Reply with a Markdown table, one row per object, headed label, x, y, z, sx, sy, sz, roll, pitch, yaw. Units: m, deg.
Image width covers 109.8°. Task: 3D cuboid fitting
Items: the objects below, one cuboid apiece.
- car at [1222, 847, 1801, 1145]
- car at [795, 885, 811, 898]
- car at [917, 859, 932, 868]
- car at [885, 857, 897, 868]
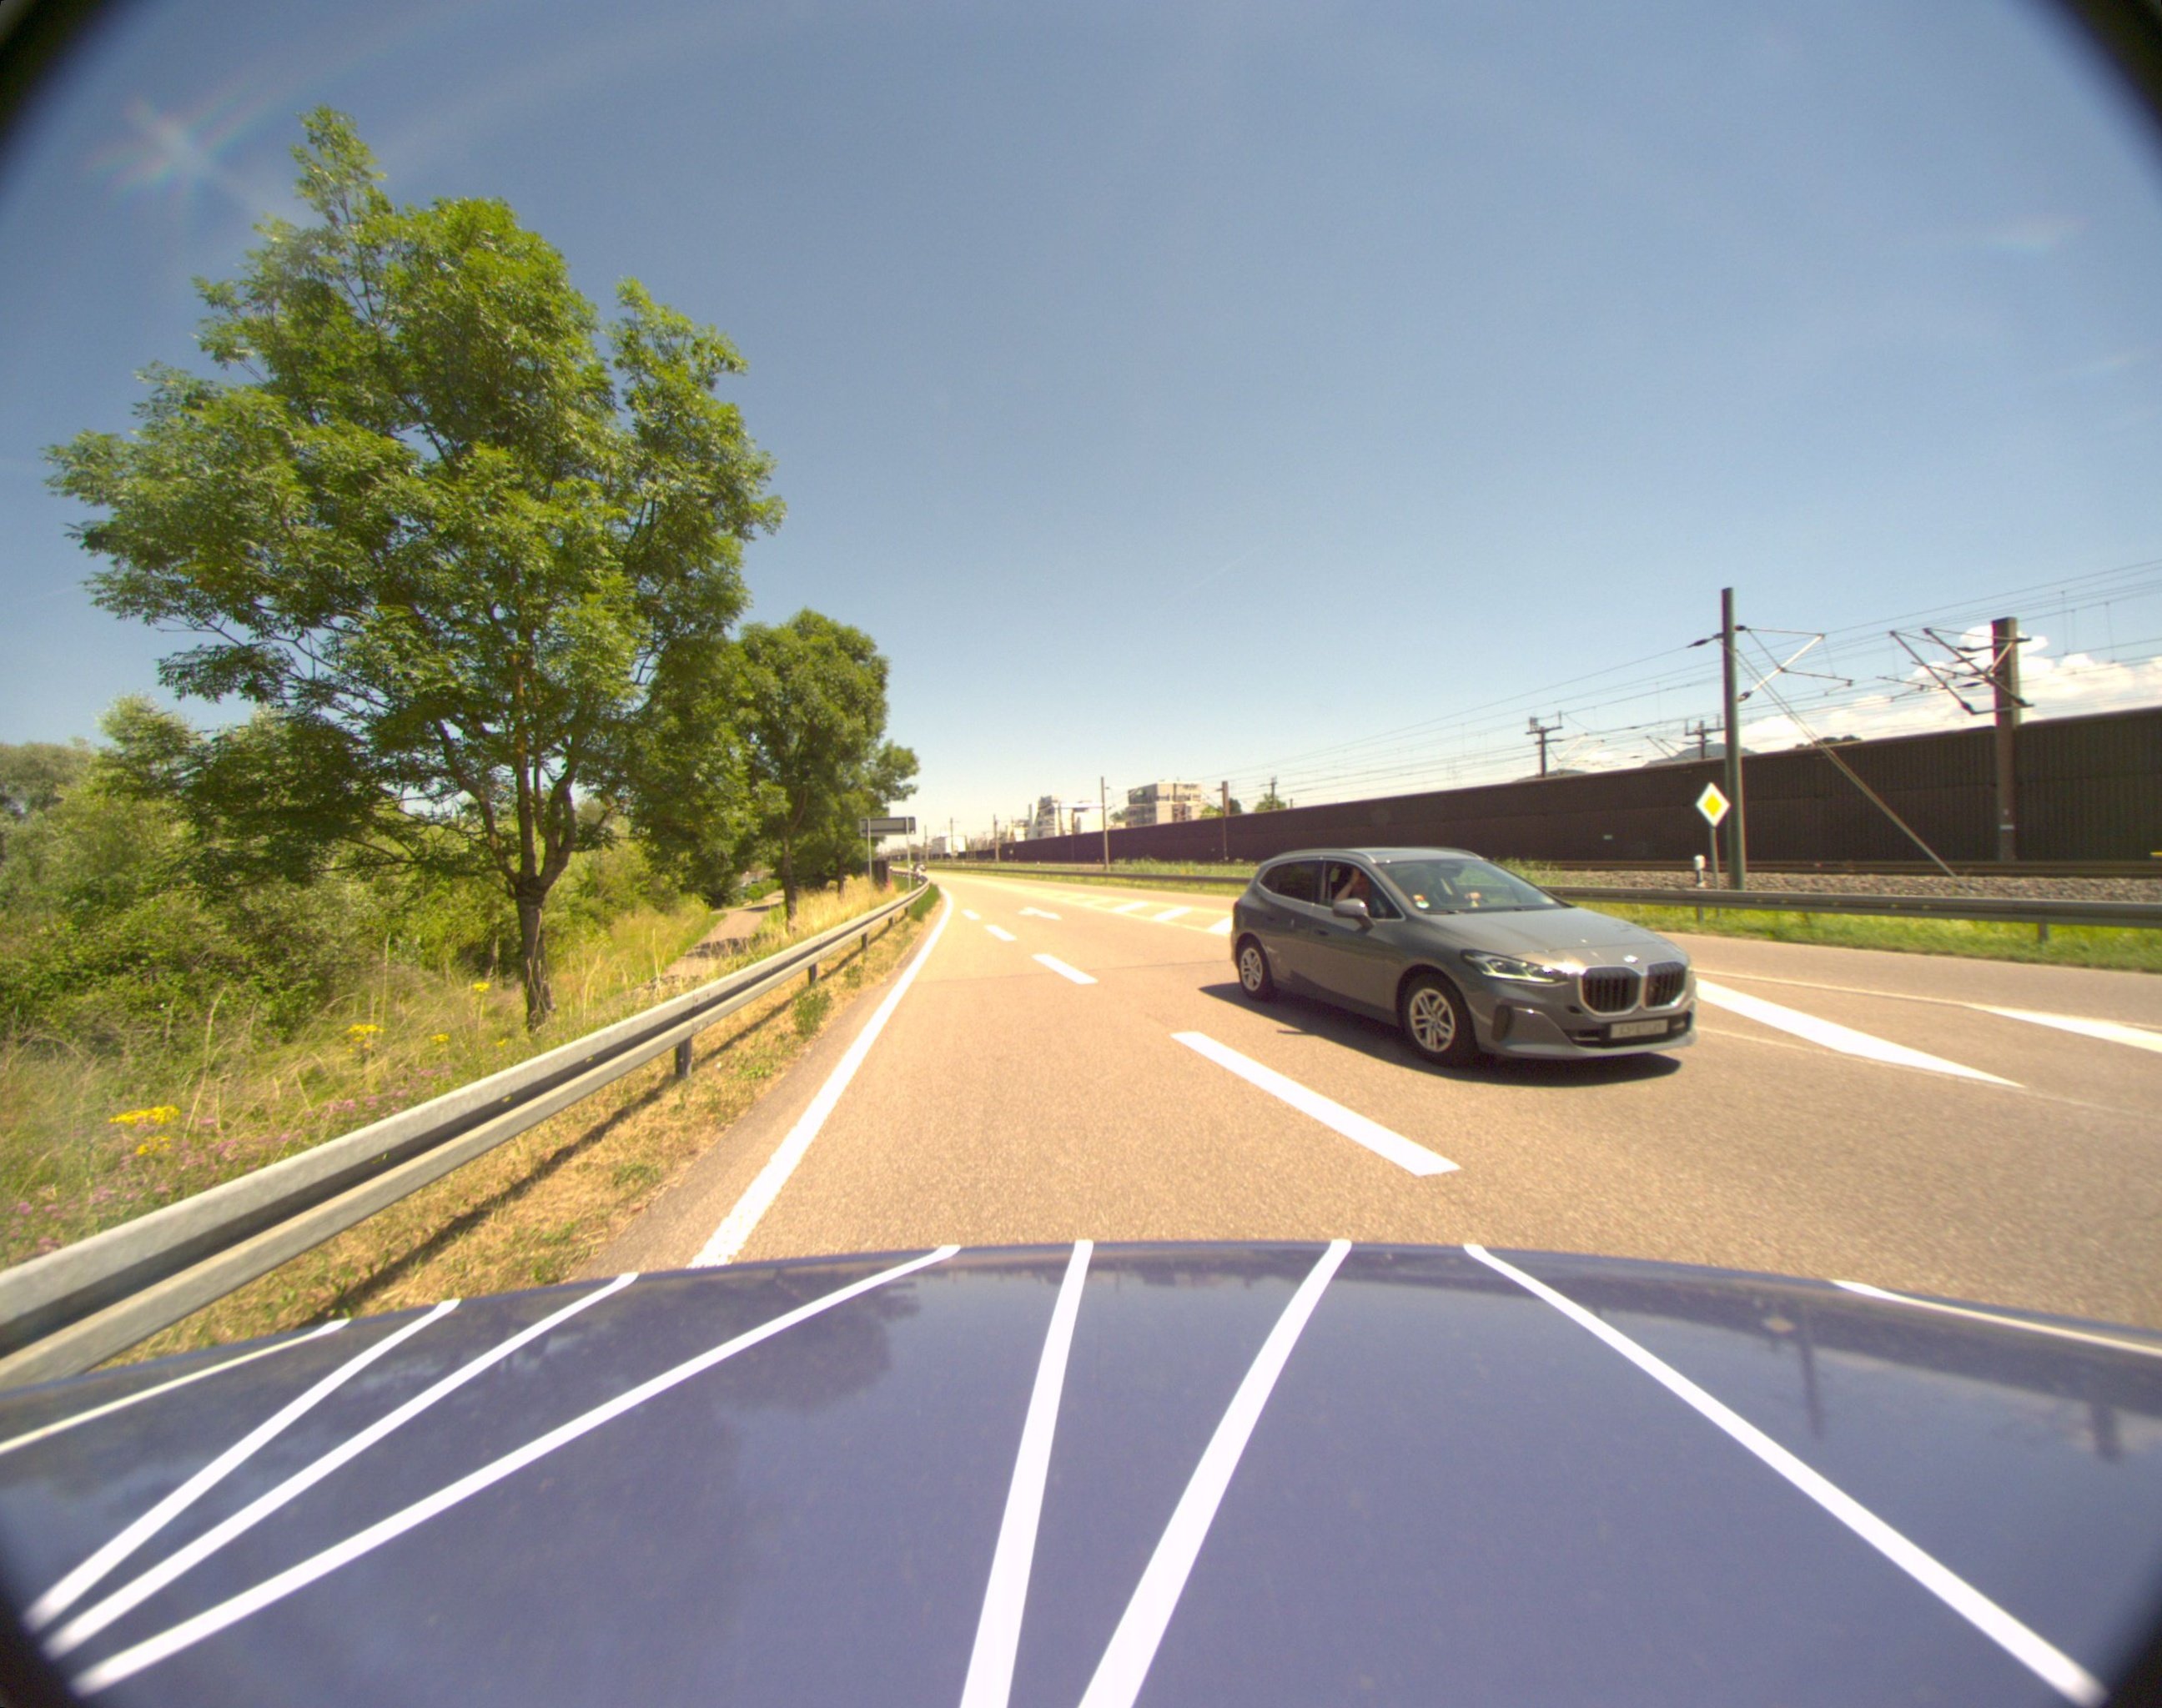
| label | x | y | z | sx | sy | sz | roll | pitch | yaw |
| --- | --- | --- | --- | --- | --- | --- | --- | --- | --- |
| car | 2.999 | 0.795 | 6.490 | 1.852 | 1.613 | 4.220 | -1 | 0 | -15 |
| car | -41.950 | 5.656 | 114.731 | 2.001 | 1.674 | 3.995 | -3 | 0 | -17 |
| car | -25.262 | 1.508 | 122.467 | 1.872 | 1.476 | 4.880 | -1 | 0 | -18 |
| car | -34.362 | 1.484 | 137.463 | 2.001 | 2.002 | 3.995 | -1 | 0 | -14 |
